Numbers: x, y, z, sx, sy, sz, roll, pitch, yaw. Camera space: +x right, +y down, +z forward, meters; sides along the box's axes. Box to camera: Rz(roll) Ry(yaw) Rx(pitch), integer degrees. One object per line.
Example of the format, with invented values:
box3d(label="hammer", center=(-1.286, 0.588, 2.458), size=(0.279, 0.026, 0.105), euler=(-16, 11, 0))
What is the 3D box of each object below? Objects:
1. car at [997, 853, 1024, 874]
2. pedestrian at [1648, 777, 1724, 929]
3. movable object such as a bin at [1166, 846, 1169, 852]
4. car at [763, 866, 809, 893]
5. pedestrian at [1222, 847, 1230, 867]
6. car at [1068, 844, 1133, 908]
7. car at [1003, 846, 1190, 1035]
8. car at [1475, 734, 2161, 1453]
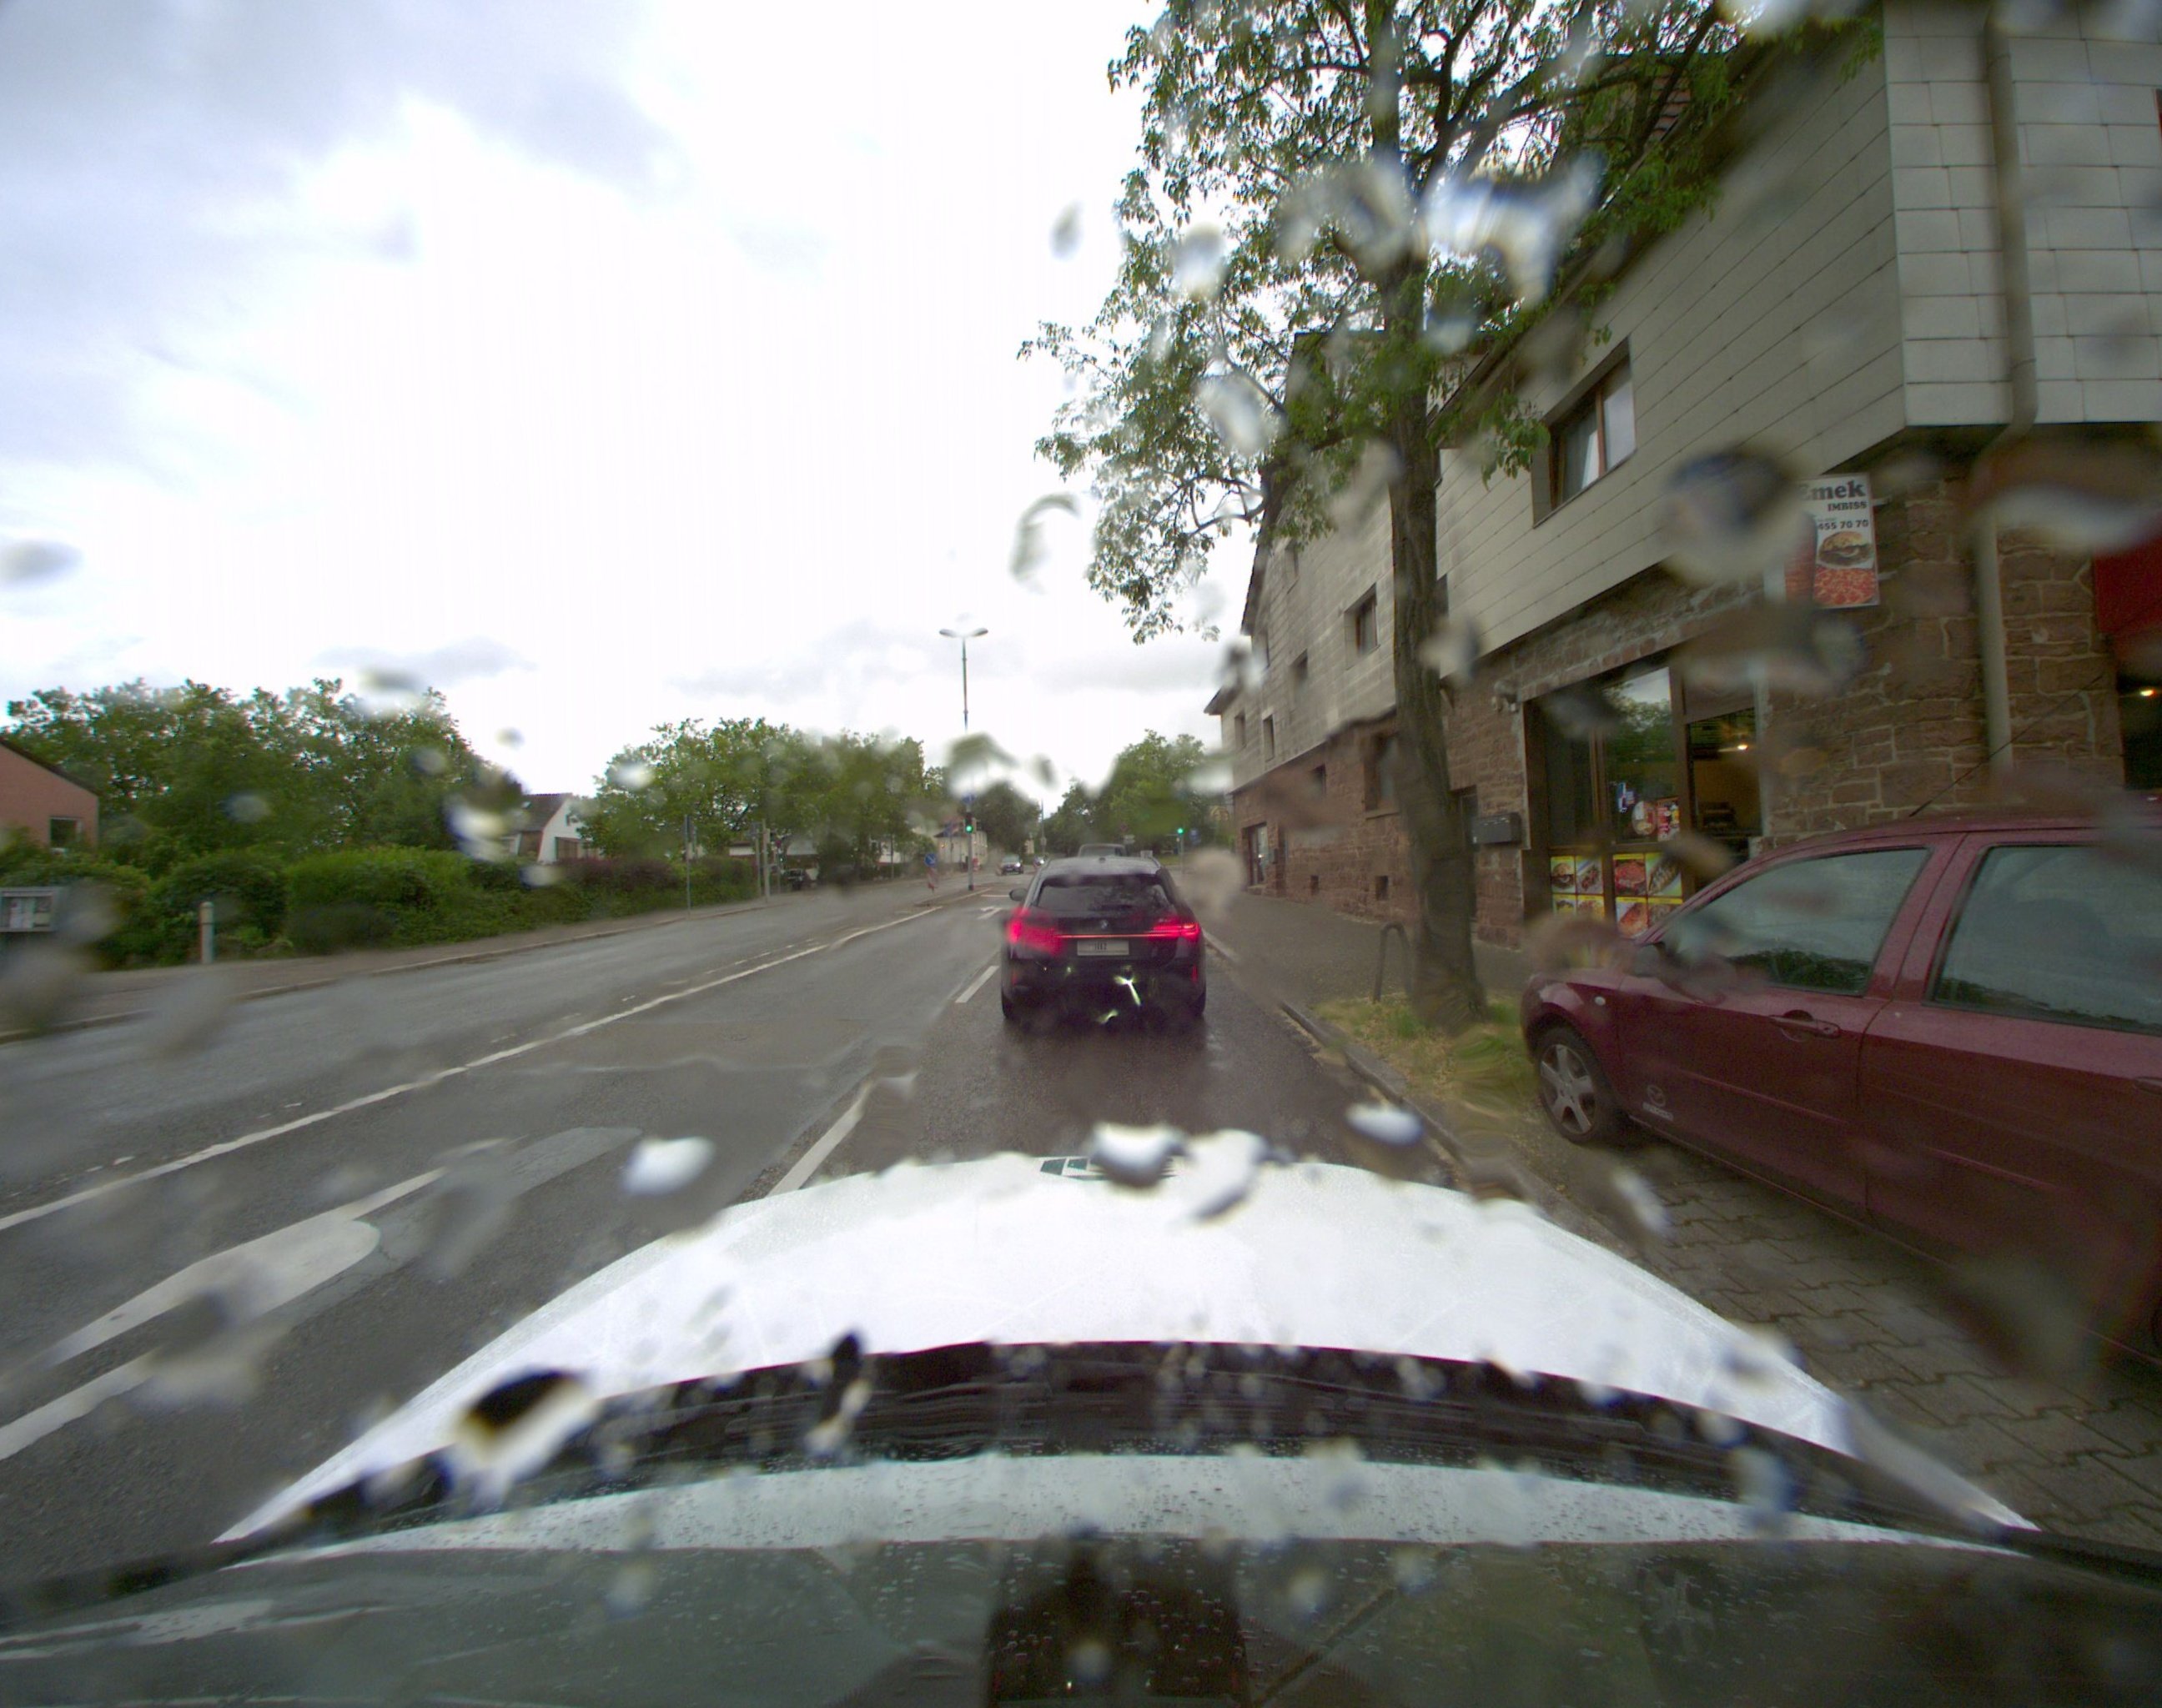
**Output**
box3d(label="car", center=(-5.882, 0.806, 68.258), size=(1.893, 1.577, 4.500), euler=(-2, 1, -1))
box3d(label="pedestrian", center=(6.775, -0.012, 9.136), size=(0.490, 1.660, 0.455), euler=(0, -1, 1))
box3d(label="movable object such as a bin", center=(12.242, -0.716, 115.192), size=(0.446, 0.906, 0.465), euler=(-1, -1, 17))
box3d(label="car", center=(-20.970, 1.770, 58.032), size=(1.803, 1.551, 4.001), euler=(0, 3, 0))
box3d(label="pedestrian", center=(11.803, 0.246, 66.374), size=(0.597, 1.617, 0.527), euler=(-1, -1, 8))
box3d(label="car", center=(0.512, 0.636, 24.806), size=(1.807, 1.809, 3.754), euler=(0, -1, -1))
box3d(label="car", center=(0.100, 0.719, 8.437), size=(1.519, 1.534, 3.530), euler=(0, -1, -1))
box3d(label="car", center=(3.045, 0.531, 2.676), size=(1.606, 1.504, 3.754), euler=(0, -2, -1))
